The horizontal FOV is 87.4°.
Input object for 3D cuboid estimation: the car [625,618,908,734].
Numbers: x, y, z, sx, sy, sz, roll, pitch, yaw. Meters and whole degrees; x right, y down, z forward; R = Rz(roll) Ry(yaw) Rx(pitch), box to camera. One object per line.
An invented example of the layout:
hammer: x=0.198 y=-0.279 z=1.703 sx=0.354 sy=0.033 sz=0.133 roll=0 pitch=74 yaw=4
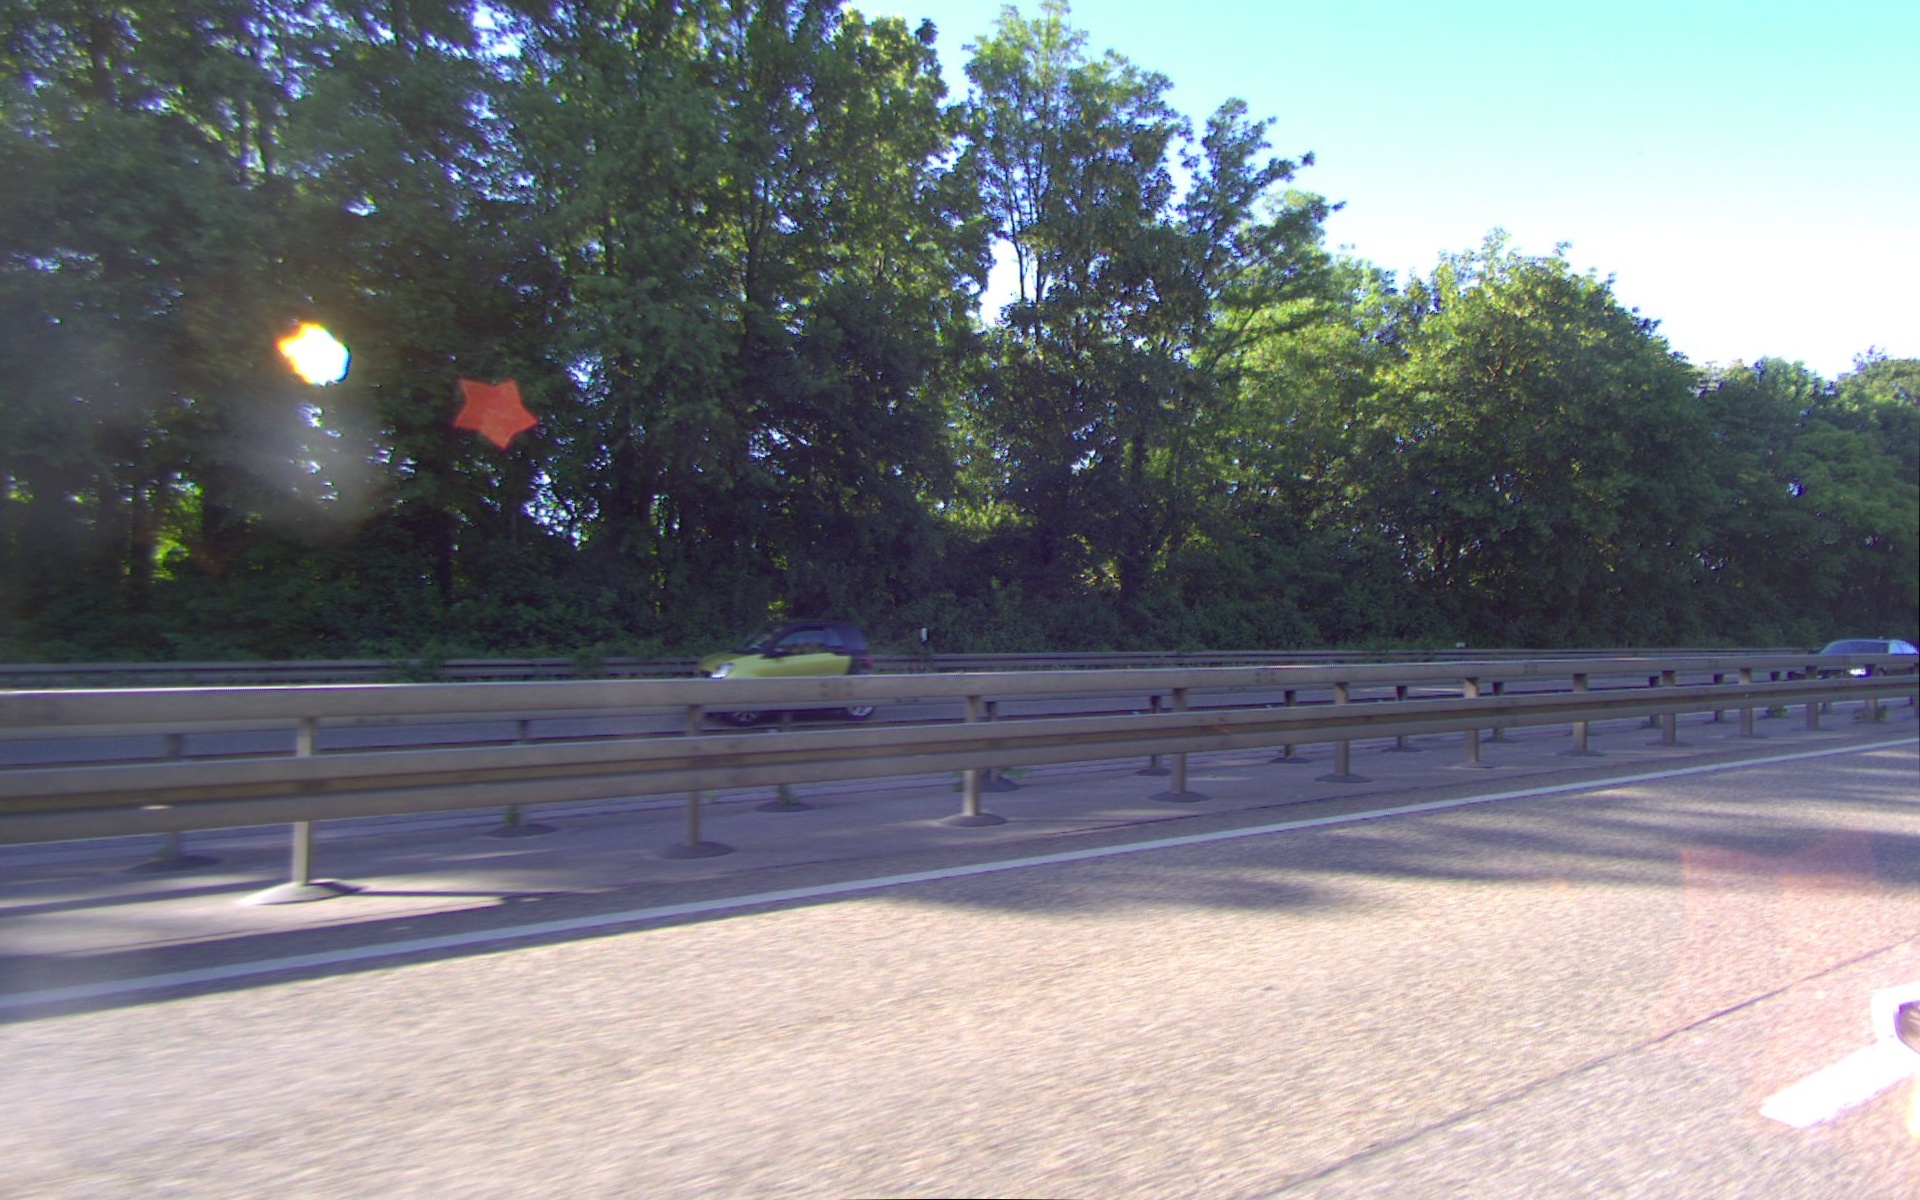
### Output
car: x=-3.014 y=1.124 z=15.758 sx=3.955 sy=1.605 sz=1.984 roll=1 pitch=-3 yaw=-31

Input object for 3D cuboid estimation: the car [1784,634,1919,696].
car: x=23.194 y=1.626 z=25.856 sx=4.292 sy=1.472 sz=1.591 roll=1 pitch=-3 yaw=-29
